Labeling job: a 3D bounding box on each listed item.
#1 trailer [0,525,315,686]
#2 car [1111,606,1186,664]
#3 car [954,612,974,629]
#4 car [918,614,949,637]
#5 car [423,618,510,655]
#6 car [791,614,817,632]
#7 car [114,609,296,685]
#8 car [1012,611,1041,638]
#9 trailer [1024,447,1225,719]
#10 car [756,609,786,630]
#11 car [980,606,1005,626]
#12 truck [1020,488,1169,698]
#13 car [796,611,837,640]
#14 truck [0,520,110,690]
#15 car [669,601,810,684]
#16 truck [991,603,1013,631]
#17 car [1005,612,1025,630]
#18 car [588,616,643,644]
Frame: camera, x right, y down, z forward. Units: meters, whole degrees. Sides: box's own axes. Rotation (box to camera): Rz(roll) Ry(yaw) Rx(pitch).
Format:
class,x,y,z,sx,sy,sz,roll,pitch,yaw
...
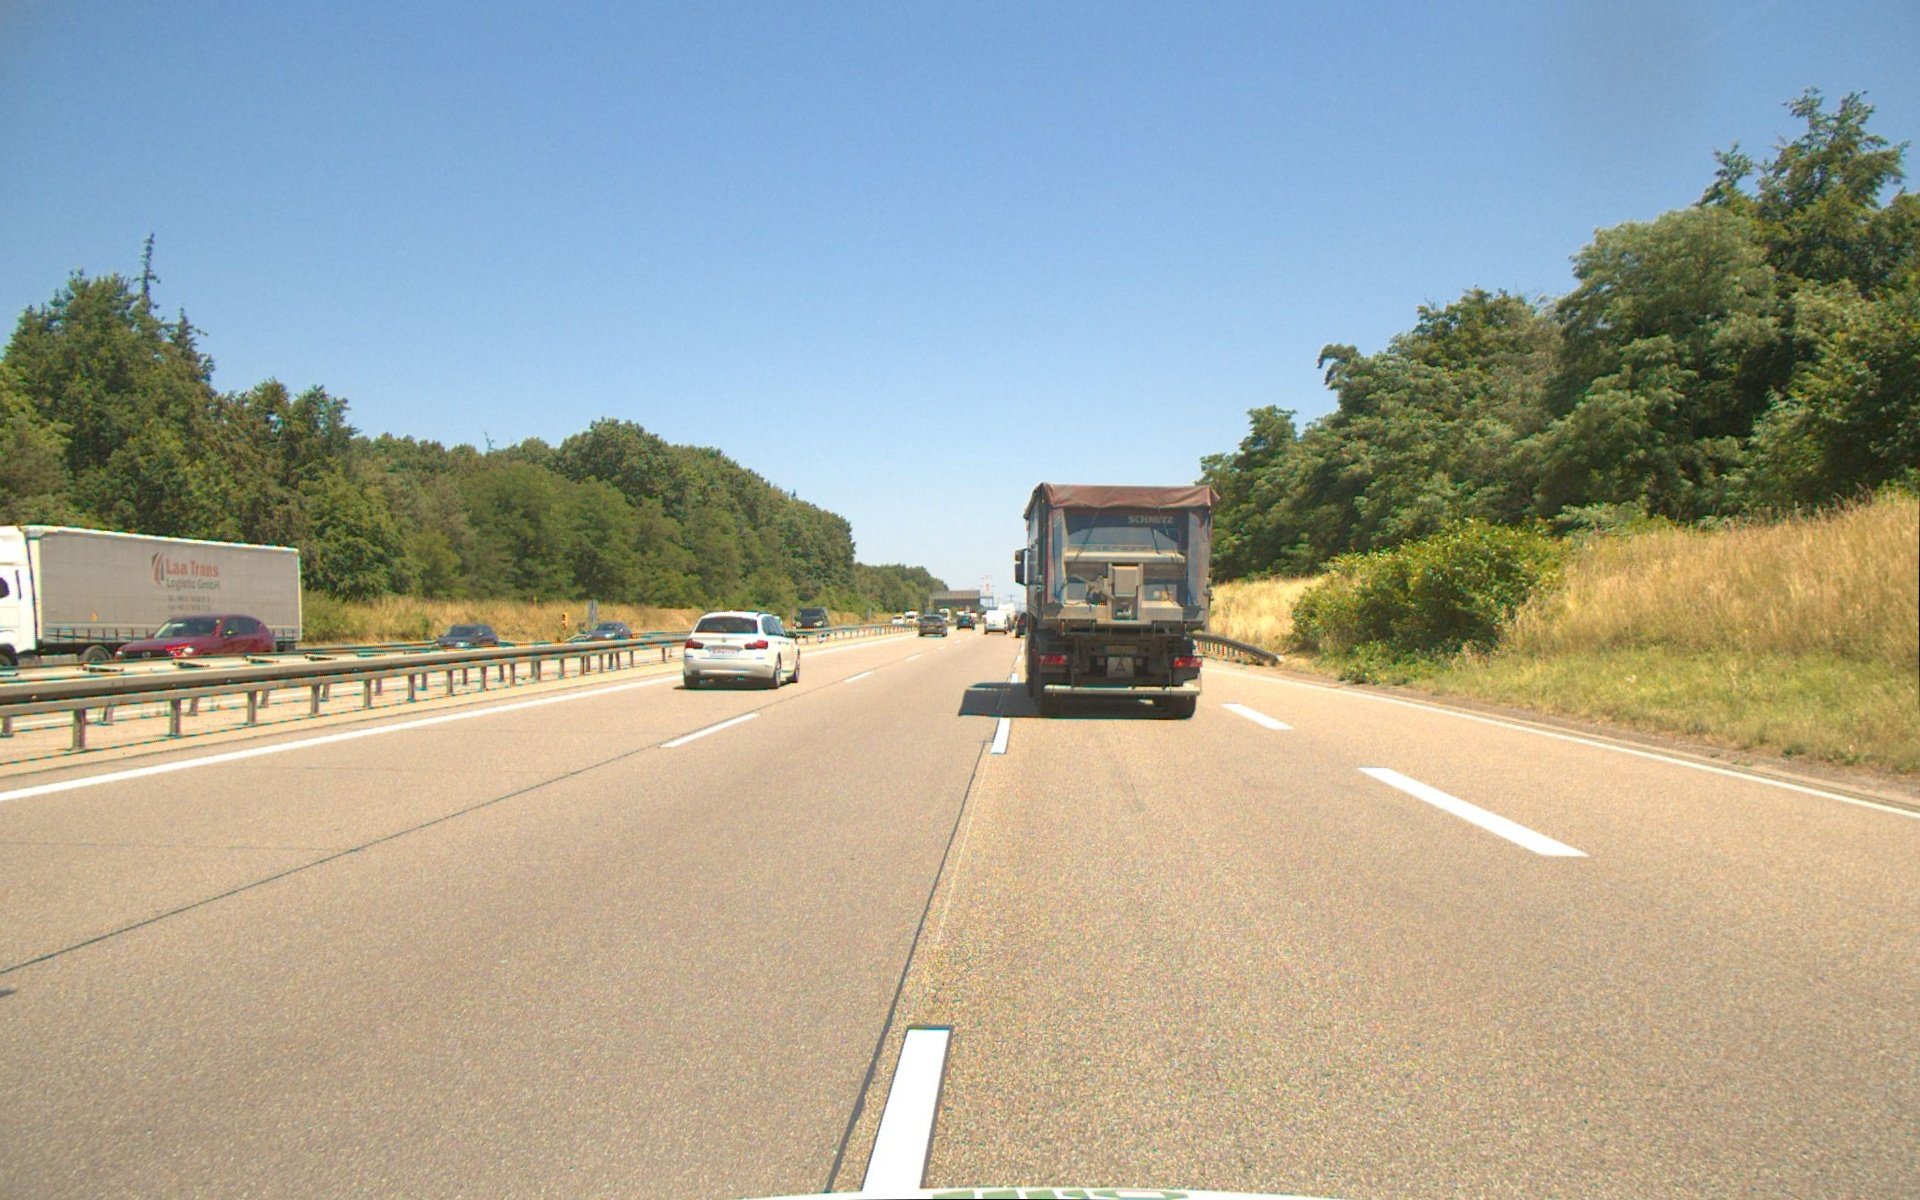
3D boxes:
class,x,y,z,sx,sy,sz,roll,pitch,yaw
trailer,-23.497,0.181,47.998,3.101,3.999,13.970,0,0,4
car,5.264,0.959,46.543,1.684,1.517,3.737,1,0,0
car,0.443,2.066,166.815,1.837,1.608,3.929,0,0,2
car,-1.750,1.697,110.796,1.794,1.457,5.001,1,0,2
car,-21.261,1.546,71.466,2.042,1.489,4.944,-1,0,2
car,-15.907,2.340,169.129,1.952,1.733,4.980,-2,0,2
car,-17.420,1.044,38.463,1.808,1.638,4.922,1,0,2
car,4.389,1.599,109.651,1.794,1.701,4.000,1,-1,1
trailer,2.484,-0.253,27.806,2.680,3.824,9.110,0,0,1
car,-17.108,1.766,149.743,1.952,1.860,4.644,-2,-1,2
car,2.568,1.248,129.314,1.855,1.495,4.262,1,0,2
truck,2.566,-0.142,33.125,2.629,3.824,5.945,0,0,1
car,-10.033,1.772,115.789,2.232,1.974,4.944,-1,0,2
truck,-24.019,0.109,40.683,3.101,4.000,5.402,0,-1,4
car,-4.385,0.831,33.722,1.923,1.530,5.406,1,-1,2
truck,4.608,1.912,182.848,2.378,2.935,6.205,1,-1,1
car,4.917,1.900,148.387,1.698,1.518,3.738,1,-1,3
car,-19.530,1.661,93.942,1.886,1.489,4.944,-1,0,2
